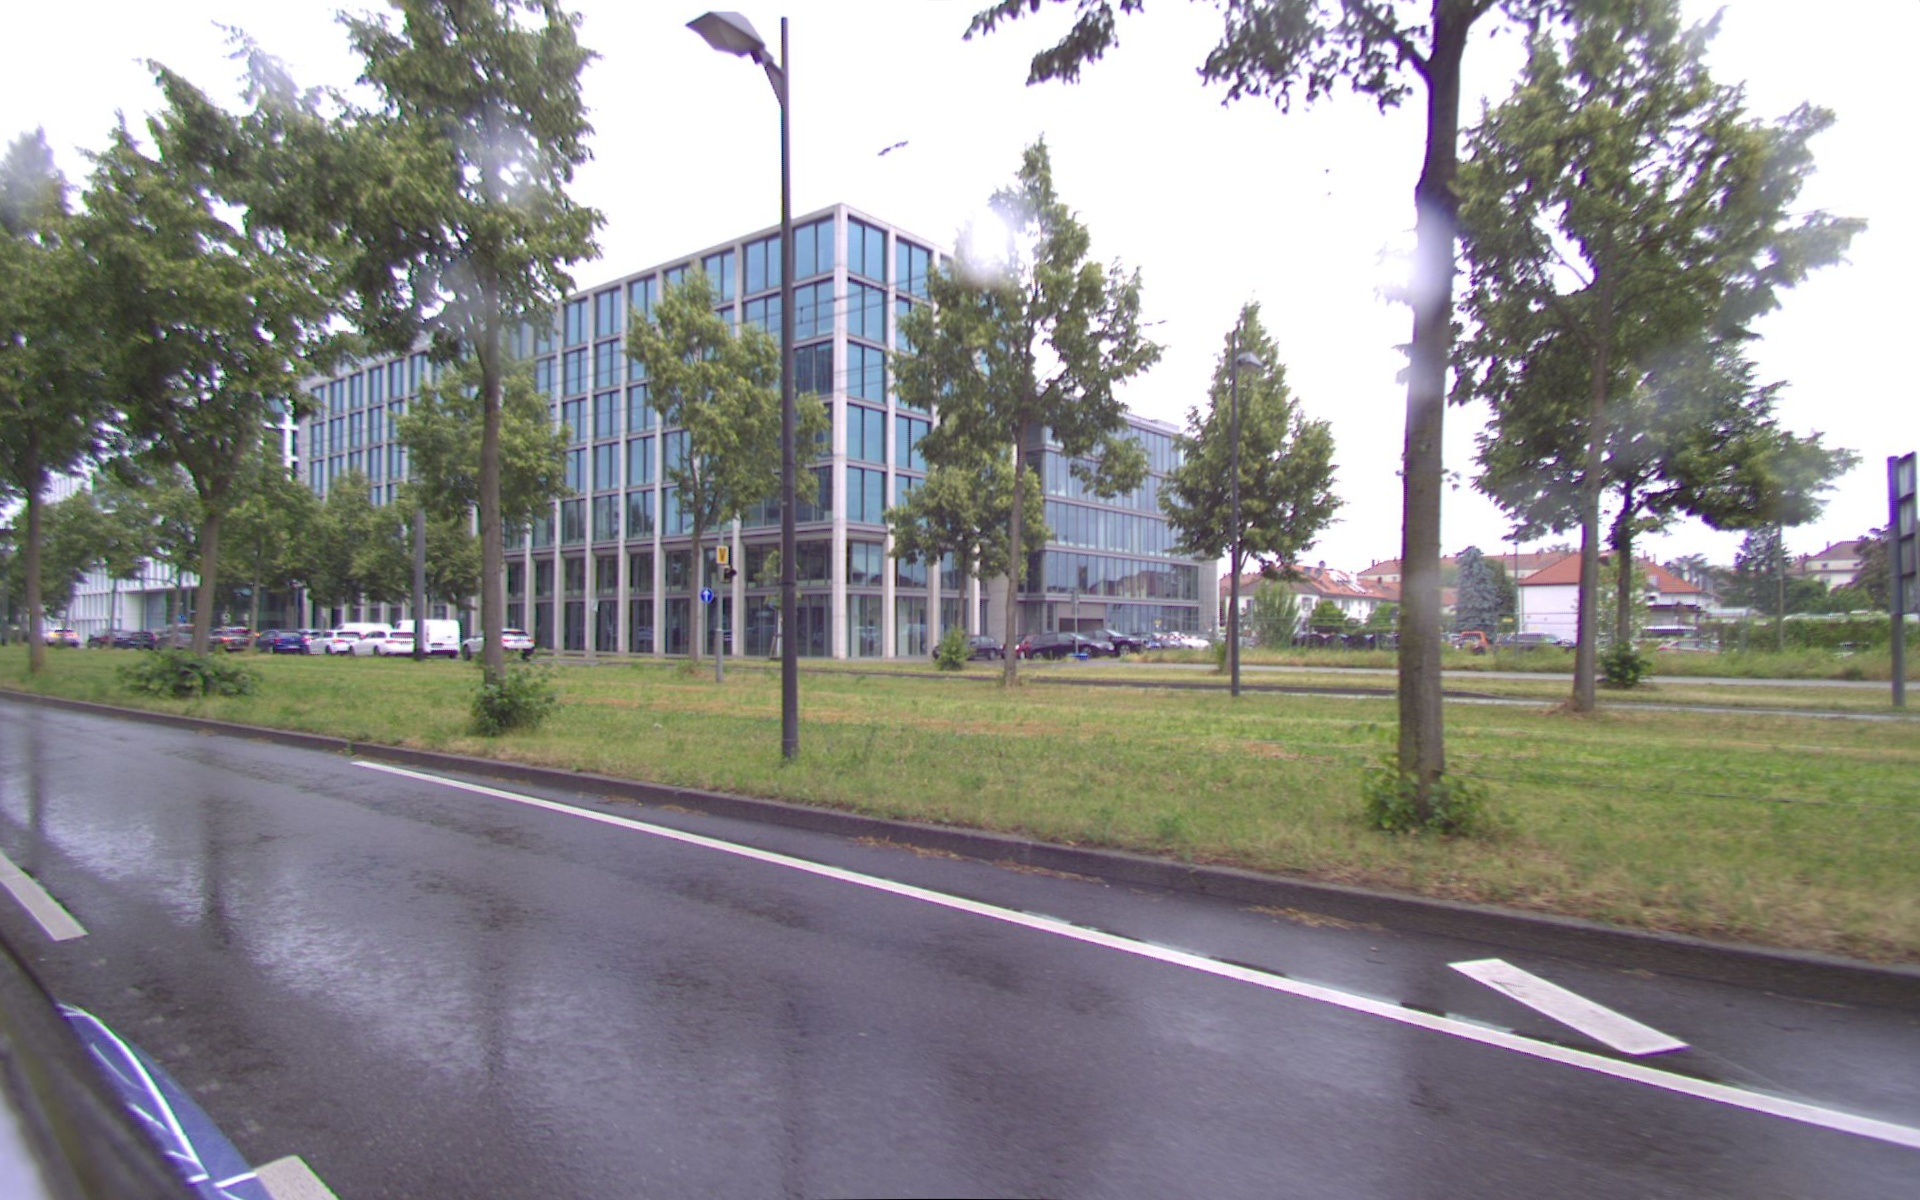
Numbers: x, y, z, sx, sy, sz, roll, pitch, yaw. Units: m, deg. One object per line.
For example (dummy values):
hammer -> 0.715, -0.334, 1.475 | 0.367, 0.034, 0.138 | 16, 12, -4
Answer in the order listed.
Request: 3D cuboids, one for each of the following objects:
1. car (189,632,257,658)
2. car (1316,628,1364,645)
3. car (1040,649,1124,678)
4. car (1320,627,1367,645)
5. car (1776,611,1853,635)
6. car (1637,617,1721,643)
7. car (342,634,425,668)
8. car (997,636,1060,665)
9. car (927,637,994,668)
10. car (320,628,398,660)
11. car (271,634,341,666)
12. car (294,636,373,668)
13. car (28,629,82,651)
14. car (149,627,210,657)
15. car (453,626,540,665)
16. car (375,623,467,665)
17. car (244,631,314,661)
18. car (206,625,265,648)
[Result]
car -> -44.188, 2.699, 60.663 | 4.594, 1.396, 1.934 | -4, -3, 35
car -> 38.231, 3.678, 101.875 | 4.223, 1.621, 1.725 | -4, -3, 33
car -> 5.693, 2.978, 47.546 | 3.653, 1.249, 1.486 | -4, -4, 37
car -> 39.381, 3.703, 103.914 | 4.223, 1.621, 1.725 | -4, -3, 33
car -> 48.042, 1.325, 56.941 | 3.245, 1.208, 1.175 | -5, -4, 42
car -> 42.935, 1.817, 60.481 | 3.900, 1.360, 1.672 | -5, -4, 42
car -> -27.797, 2.460, 48.729 | 4.826, 1.472, 1.931 | -4, -4, 40
car -> 4.200, 3.037, 61.523 | 1.743, 1.621, 4.105 | -4, -4, 39
car -> 0.071, 2.922, 56.762 | 1.743, 1.621, 3.751 | -4, -4, 39
car -> -34.461, 2.540, 57.974 | 5.016, 1.664, 1.934 | -4, -3, 34
car -> -40.055, 3.078, 61.962 | 4.621, 1.759, 1.934 | -4, -3, 34
car -> -32.668, 2.674, 52.709 | 4.566, 1.525, 1.933 | -1, -2, 36
car -> -64.655, 2.839, 72.294 | 4.566, 1.463, 1.933 | -1, -2, 36
car -> -50.826, 2.722, 65.869 | 4.533, 1.863, 1.933 | -3, -3, 36
car -> -22.001, 2.136, 47.988 | 4.571, 1.762, 1.931 | -2, -2, 39
car -> -28.272, 2.322, 53.058 | 5.364, 2.022, 2.247 | -4, -4, 37
car -> -38.093, 2.599, 56.631 | 3.951, 1.506, 1.934 | -4, -3, 34
car -> -49.394, 2.497, 68.984 | 4.261, 1.396, 1.934 | -4, -3, 34
